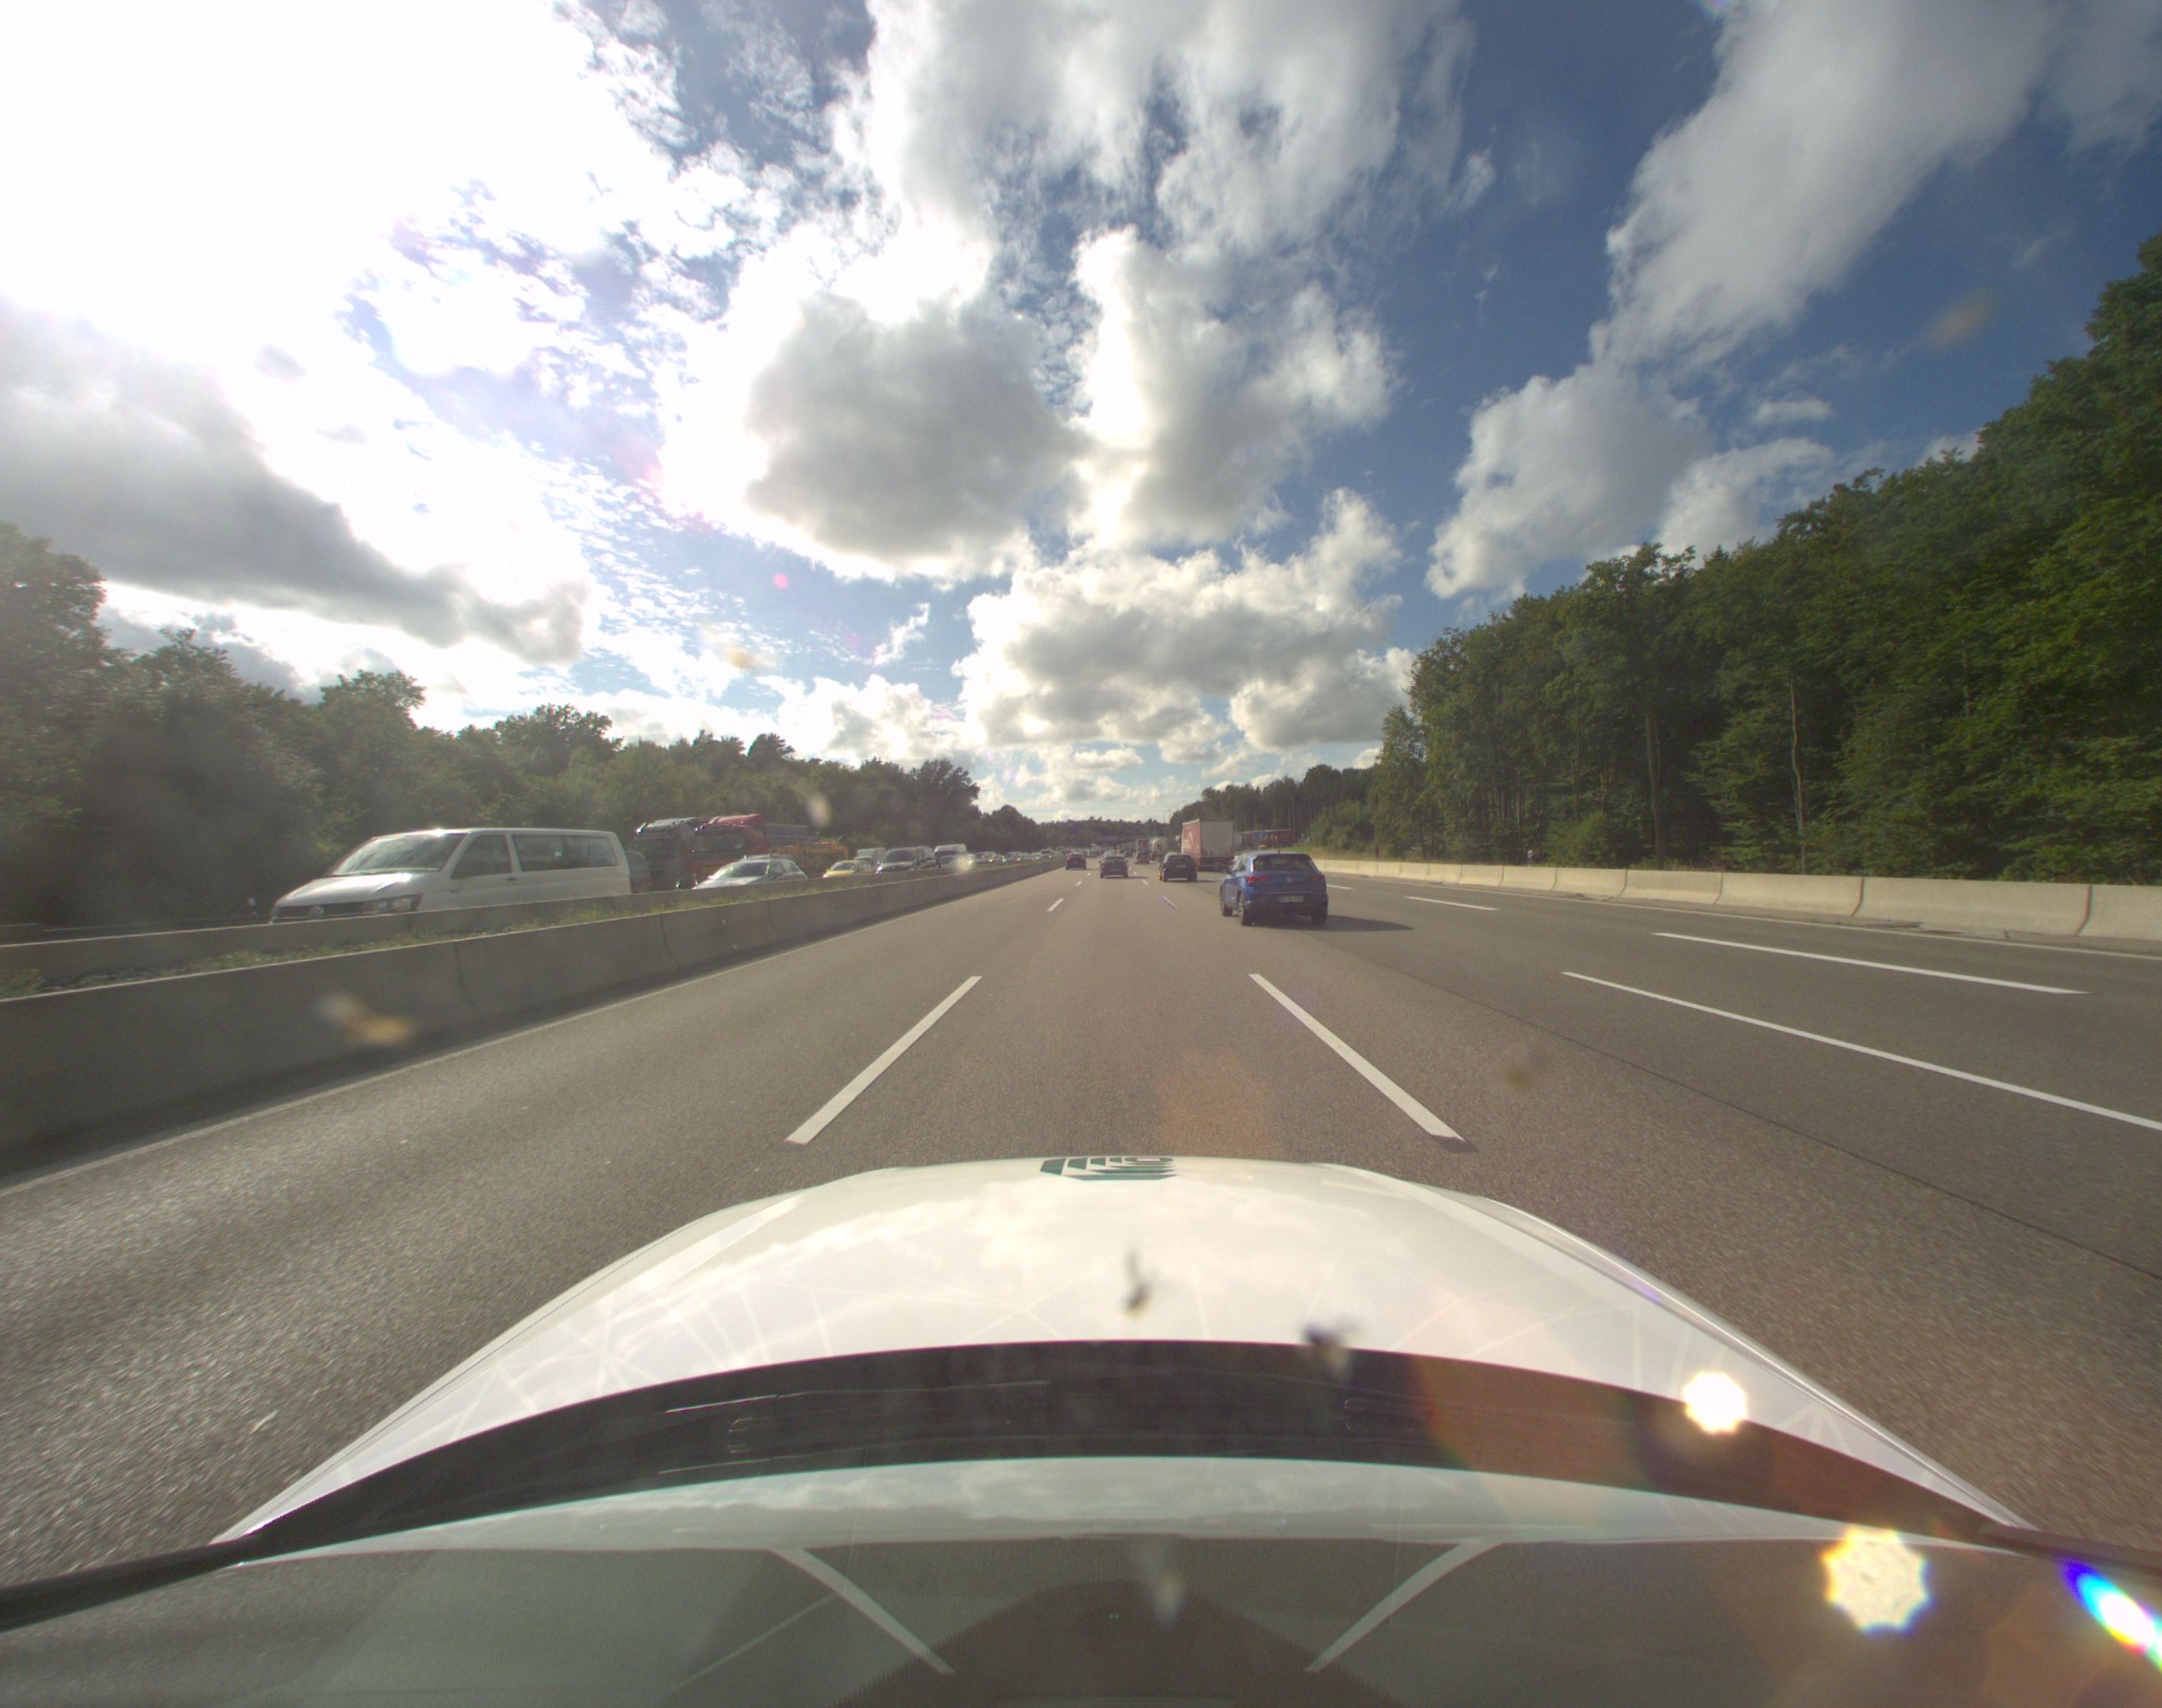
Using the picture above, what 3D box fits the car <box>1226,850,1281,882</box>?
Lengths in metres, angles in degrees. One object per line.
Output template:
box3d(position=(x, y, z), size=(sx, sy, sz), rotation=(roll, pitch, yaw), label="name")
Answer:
box3d(position=(8.861, 0.606, 42.202), size=(1.711, 1.511, 4.297), rotation=(-2, -1, -3), label="car")

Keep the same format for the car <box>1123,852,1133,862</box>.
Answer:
box3d(position=(9.852, 0.560, 169.975), size=(1.986, 2.014, 4.002), rotation=(0, -1, 2), label="car")

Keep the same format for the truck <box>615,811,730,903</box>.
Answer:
box3d(position=(-19.899, 0.134, 40.060), size=(2.801, 4.149, 5.454), rotation=(-1, 0, 1), label="truck")

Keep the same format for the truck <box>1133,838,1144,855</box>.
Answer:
box3d(position=(13.600, -1.788, 193.466), size=(2.348, 3.572, 11.275), rotation=(-1, -1, 3), label="truck")

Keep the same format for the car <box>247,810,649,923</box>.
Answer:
box3d(position=(-9.157, 0.210, 12.654), size=(1.843, 1.354, 5.489), rotation=(-1, -1, 1), label="car")

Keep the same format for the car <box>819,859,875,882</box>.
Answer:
box3d(position=(-11.855, 0.806, 41.483), size=(1.579, 1.127, 4.001), rotation=(0, 0, 1), label="car")

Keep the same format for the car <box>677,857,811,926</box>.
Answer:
box3d(position=(-8.538, 0.875, 21.018), size=(1.717, 1.603, 4.001), rotation=(0, 0, 1), label="car")

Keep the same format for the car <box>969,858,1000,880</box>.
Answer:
box3d(position=(-7.474, 1.125, 63.372), size=(1.829, 1.591, 4.290), rotation=(0, 0, 1), label="car")

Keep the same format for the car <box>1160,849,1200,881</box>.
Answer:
box3d(position=(5.231, 0.568, 43.477), size=(1.792, 1.644, 4.002), rotation=(0, -1, 2), label="car")

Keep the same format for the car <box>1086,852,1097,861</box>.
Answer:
box3d(position=(2.237, 0.592, 168.033), size=(2.146, 1.776, 4.002), rotation=(0, -1, 2), label="car")

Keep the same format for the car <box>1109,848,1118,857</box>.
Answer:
box3d(position=(7.604, -0.371, 188.562), size=(1.986, 2.014, 4.001), rotation=(-2, -1, 2), label="car")

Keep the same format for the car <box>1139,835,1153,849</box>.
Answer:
box3d(position=(13.975, -2.560, 175.540), size=(2.854, 2.992, 5.153), rotation=(-1, -1, 3), label="car")

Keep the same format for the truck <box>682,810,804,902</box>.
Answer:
box3d(position=(-15.785, 0.090, 38.664), size=(2.766, 3.938, 6.854), rotation=(0, 0, 1), label="truck")

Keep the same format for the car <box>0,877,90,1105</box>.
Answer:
box3d(position=(-9.505, 1.068, 4.920), size=(1.681, 1.816, 4.296), rotation=(-1, -1, 1), label="car")

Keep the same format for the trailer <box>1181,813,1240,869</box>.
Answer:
box3d(position=(10.267, -0.823, 66.173), size=(3.027, 4.035, 13.895), rotation=(-1, -1, 2), label="trailer")

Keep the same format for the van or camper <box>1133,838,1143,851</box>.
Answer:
box3d(position=(14.043, -2.283, 200.409), size=(2.341, 3.144, 5.715), rotation=(-1, -1, 3), label="van or camper")

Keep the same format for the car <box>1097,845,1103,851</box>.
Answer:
box3d(position=(5.584, -1.768, 237.642), size=(1.617, 1.470, 3.817), rotation=(0, 0, 3), label="car")

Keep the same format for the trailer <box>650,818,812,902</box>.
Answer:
box3d(position=(-19.568, 0.272, 47.161), size=(2.798, 4.119, 14.050), rotation=(0, 0, 2), label="trailer")

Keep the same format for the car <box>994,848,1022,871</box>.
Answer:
box3d(position=(-6.706, 0.478, 75.065), size=(1.874, 2.013, 4.523), rotation=(0, 0, 3), label="car")

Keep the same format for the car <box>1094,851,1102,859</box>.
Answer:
box3d(position=(4.187, 0.205, 197.422), size=(1.986, 2.013, 4.002), rotation=(0, 0, 2), label="car")

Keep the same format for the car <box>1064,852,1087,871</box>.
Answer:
box3d(position=(-0.514, 0.708, 77.541), size=(1.985, 1.776, 4.003), rotation=(-1, 0, 2), label="car")

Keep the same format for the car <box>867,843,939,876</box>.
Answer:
box3d(position=(-8.011, 0.234, 37.221), size=(1.808, 1.349, 6.234), rotation=(0, 0, 1), label="car")

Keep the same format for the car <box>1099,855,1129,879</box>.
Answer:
box3d(position=(2.068, 0.806, 51.508), size=(1.729, 1.365, 4.000), rotation=(0, 2, -1), label="car")

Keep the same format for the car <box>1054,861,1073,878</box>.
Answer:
box3d(position=(-2.099, 1.842, 99.093), size=(1.985, 1.920, 4.004), rotation=(-1, 1, 3), label="car")

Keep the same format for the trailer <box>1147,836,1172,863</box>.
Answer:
box3d(position=(12.466, -0.656, 130.562), size=(3.025, 4.016, 12.249), rotation=(-1, -1, 2), label="trailer")

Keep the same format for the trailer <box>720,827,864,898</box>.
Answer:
box3d(position=(-15.628, 0.359, 45.764), size=(2.718, 3.335, 14.223), rotation=(0, 0, 1), label="trailer")

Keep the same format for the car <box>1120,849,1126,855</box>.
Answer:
box3d(position=(13.150, -0.620, 256.366), size=(1.986, 2.013, 4.002), rotation=(0, 0, 2), label="car")

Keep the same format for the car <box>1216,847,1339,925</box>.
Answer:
box3d(position=(4.262, 0.688, 18.435), size=(1.916, 1.541, 4.649), rotation=(-1, -1, 3), label="car")

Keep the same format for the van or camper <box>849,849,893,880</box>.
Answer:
box3d(position=(-22.178, 1.089, 86.342), size=(2.563, 3.077, 7.197), rotation=(-1, 0, 1), label="van or camper")

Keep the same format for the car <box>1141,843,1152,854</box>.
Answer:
box3d(position=(13.302, -1.153, 166.308), size=(1.986, 2.014, 4.001), rotation=(-1, -1, 2), label="car")

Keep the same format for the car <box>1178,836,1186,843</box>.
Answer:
box3d(position=(29.534, -4.239, 237.622), size=(1.986, 2.013, 4.002), rotation=(-2, 0, 2), label="car")

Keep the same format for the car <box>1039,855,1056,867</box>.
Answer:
box3d(position=(-4.825, 0.984, 119.321), size=(1.985, 1.572, 4.820), rotation=(-1, 0, 3), label="car")

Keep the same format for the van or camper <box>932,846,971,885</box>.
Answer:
box3d(position=(-10.837, 0.932, 68.522), size=(2.131, 3.172, 6.246), rotation=(0, 0, 1), label="van or camper")

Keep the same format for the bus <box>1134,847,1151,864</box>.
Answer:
box3d(position=(7.652, 0.194, 101.727), size=(1.985, 2.014, 4.002), rotation=(-1, -1, 2), label="bus")

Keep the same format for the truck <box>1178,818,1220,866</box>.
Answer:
box3d(position=(10.503, -1.013, 72.878), size=(3.068, 4.064, 6.072), rotation=(-1, -1, 2), label="truck")
